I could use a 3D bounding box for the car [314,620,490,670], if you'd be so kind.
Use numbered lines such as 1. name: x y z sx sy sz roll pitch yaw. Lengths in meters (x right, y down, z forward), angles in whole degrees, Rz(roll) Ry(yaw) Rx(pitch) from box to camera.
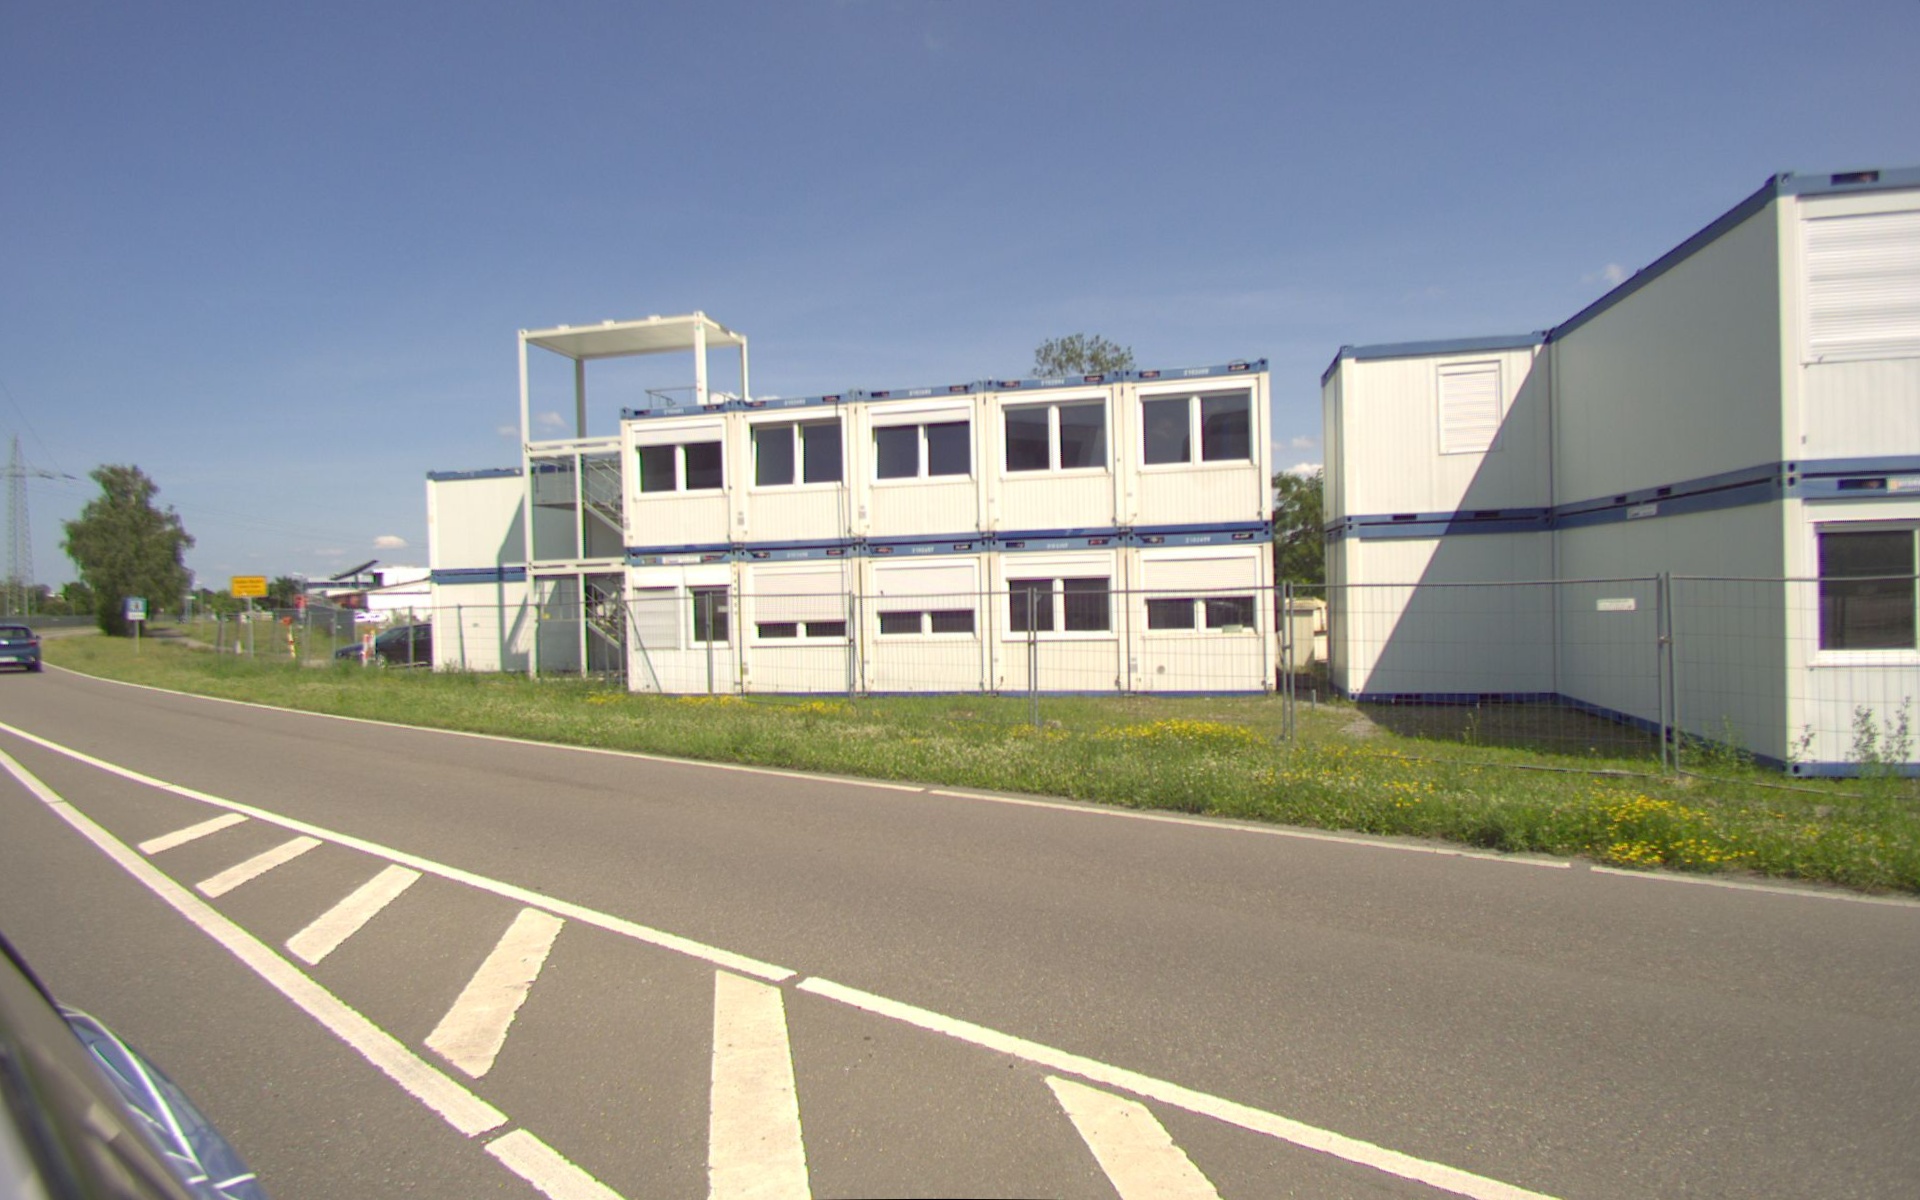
1. car: -19.031 1.506 34.759 1.994 1.427 4.931 -2 0 32

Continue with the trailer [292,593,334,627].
1. trailer: -74.461 1.080 116.274 3.247 3.672 14.960 0 0 -36

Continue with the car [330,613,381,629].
1. car: -57.229 2.020 95.811 3.934 1.353 1.751 -2 0 -36

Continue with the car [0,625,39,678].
1. car: -29.442 1.545 30.970 4.002 1.493 1.683 -1 0 45

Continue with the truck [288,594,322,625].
1. truck: -82.007 1.164 126.580 3.060 3.672 10.619 0 0 -36

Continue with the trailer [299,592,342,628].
1. trailer: -67.512 1.003 106.736 3.354 3.672 8.679 0 0 -36
